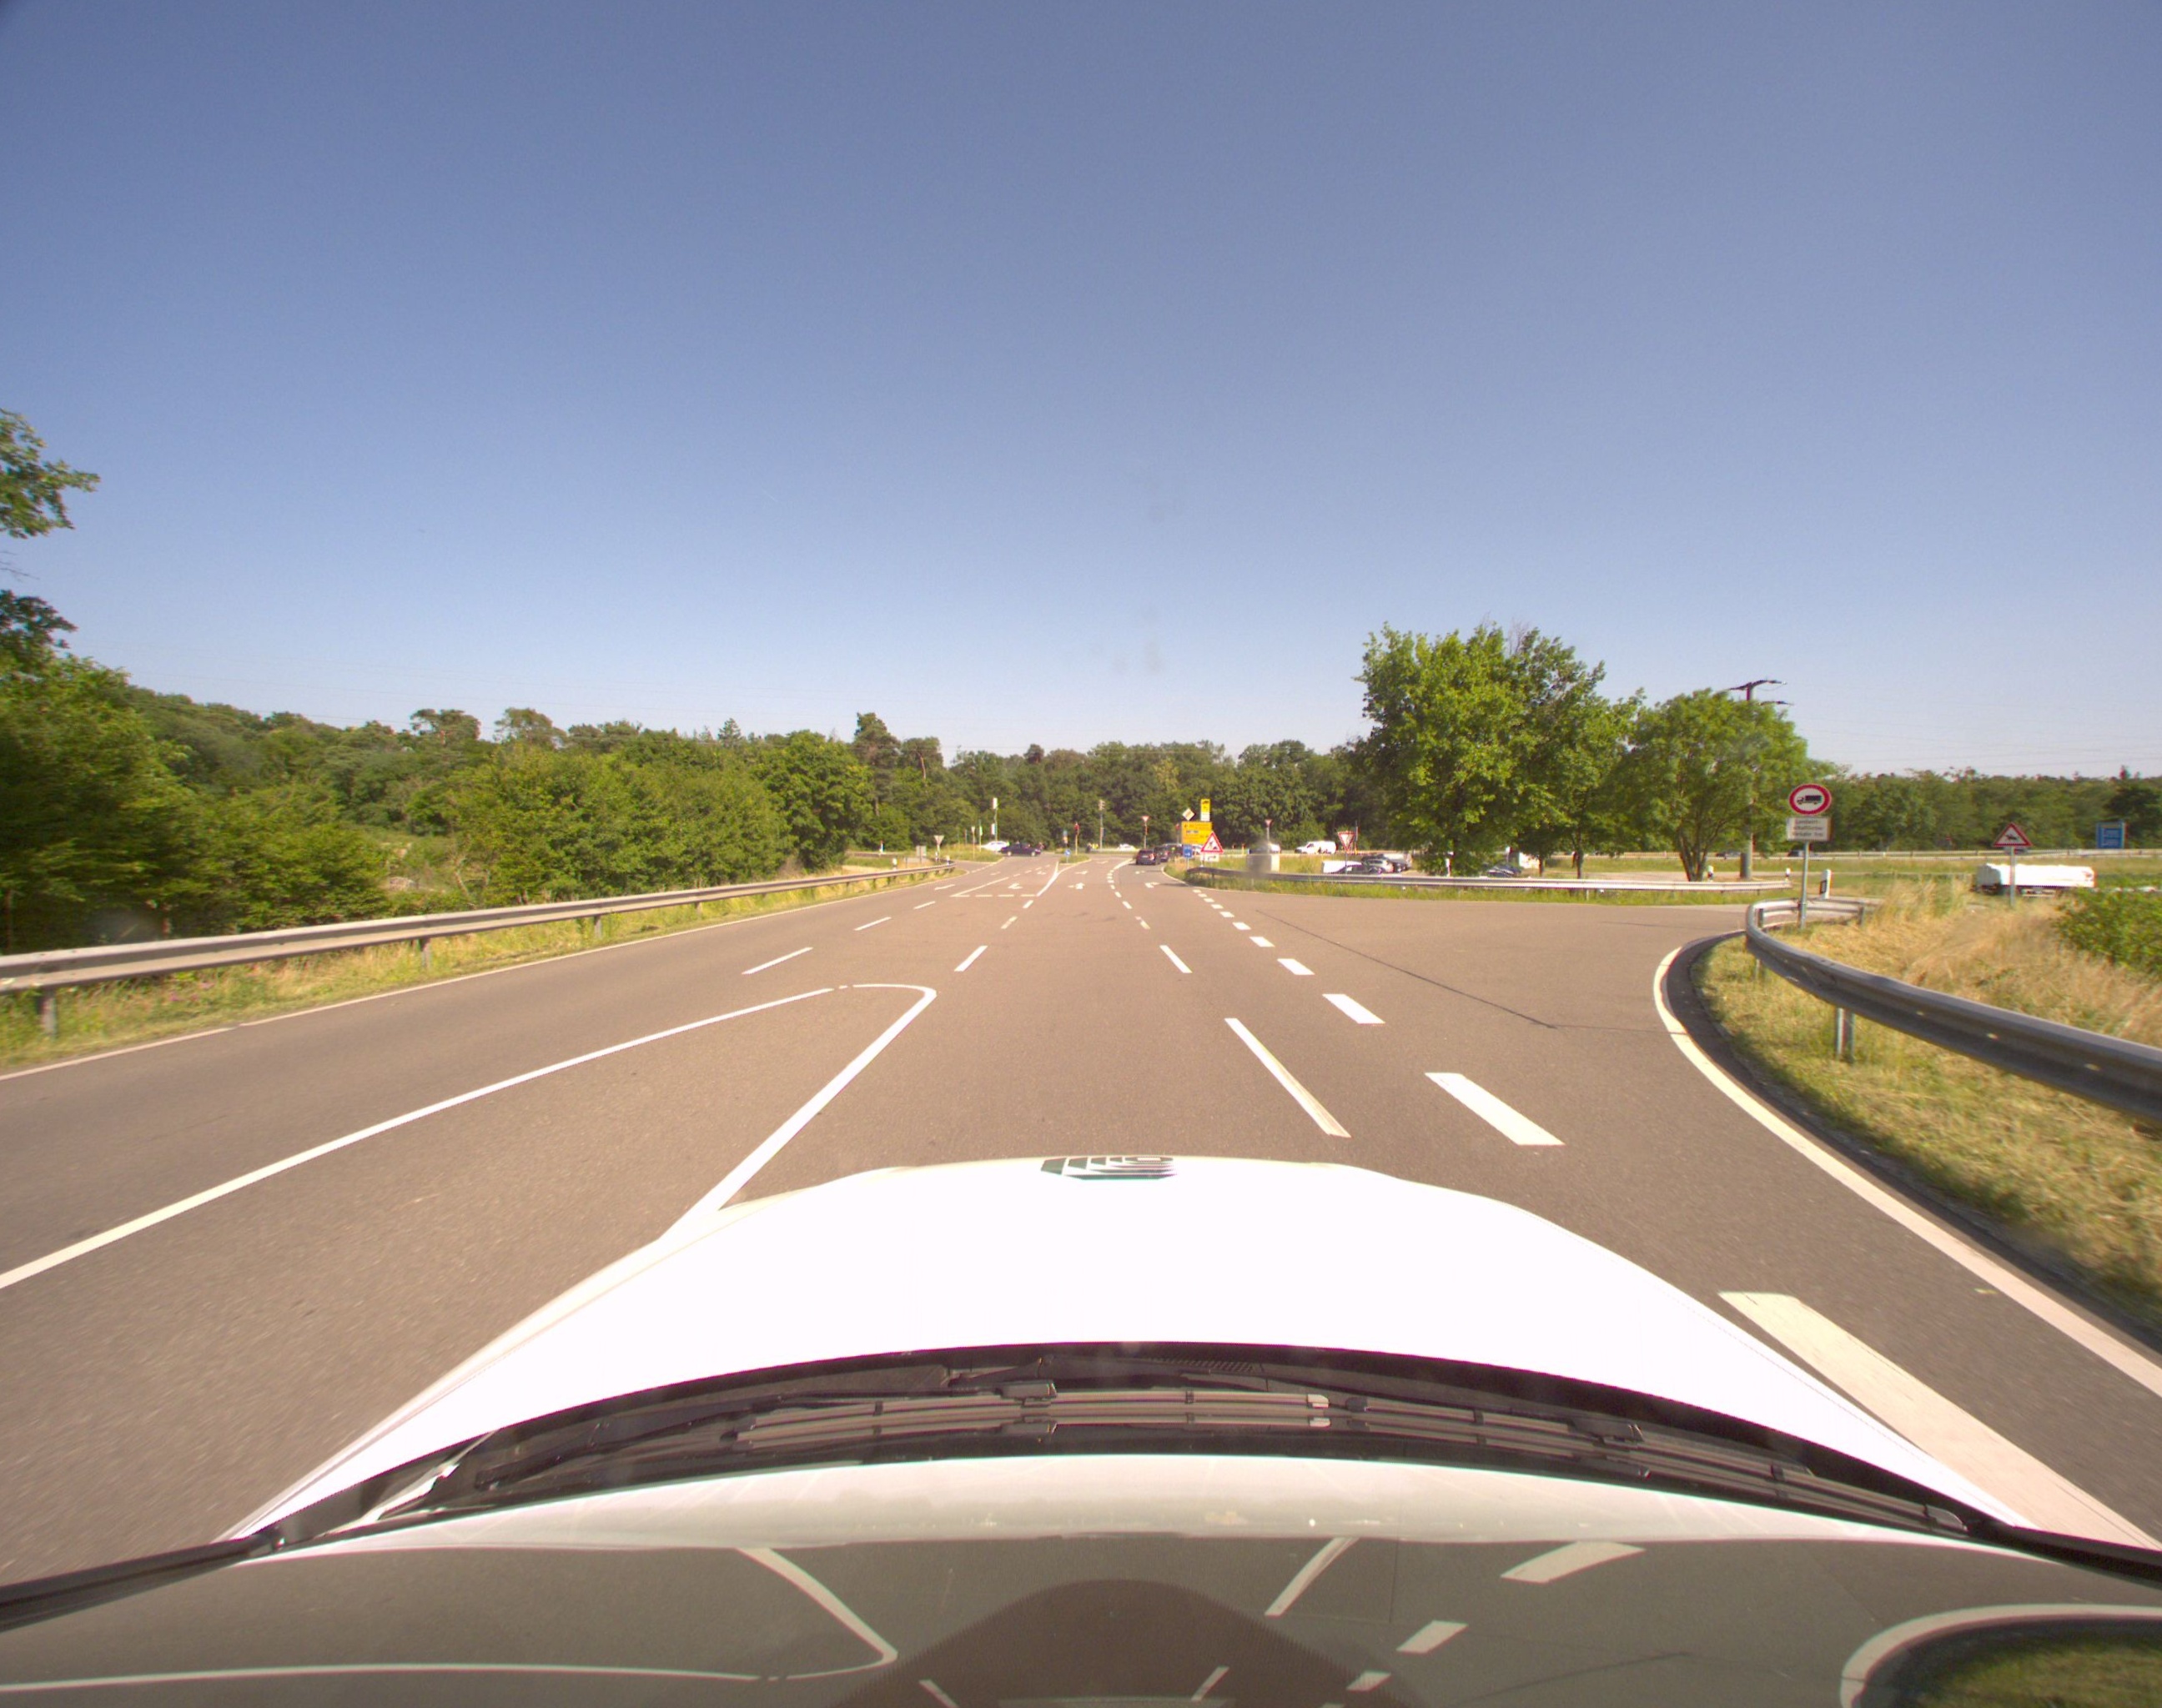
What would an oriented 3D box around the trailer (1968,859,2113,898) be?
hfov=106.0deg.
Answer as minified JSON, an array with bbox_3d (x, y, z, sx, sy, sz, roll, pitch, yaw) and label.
[{"bbox_3d":[73.835,1.858,62.818,6.732,2.670,2.906,1,1,16],"label":"trailer"}]

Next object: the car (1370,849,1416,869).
[{"bbox_3d":[31.867,0.503,83.302,3.950,1.876,1.903,3,1,40],"label":"car"}]

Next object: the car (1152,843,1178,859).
[{"bbox_3d":[8.268,-0.268,79.804,1.785,1.501,4.019,0,1,18],"label":"car"}]

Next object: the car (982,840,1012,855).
[{"bbox_3d":[-12.218,-0.973,118.159,4.002,2.013,1.783,-2,0,-21],"label":"car"}]

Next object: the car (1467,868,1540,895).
[{"bbox_3d":[29.480,1.867,56.973,4.318,1.589,2.010,2,1,20],"label":"car"}]

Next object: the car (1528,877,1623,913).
[{"bbox_3d":[26.664,2.199,44.033,3.964,1.665,1.896,2,1,8],"label":"car"}]

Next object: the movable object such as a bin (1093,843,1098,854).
[{"bbox_3d":[1.974,-0.807,111.112,0.598,1.488,0.734,-2,0,8],"label":"movable object such as a bin"}]

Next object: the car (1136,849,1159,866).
[{"bbox_3d":[5.948,0.330,72.439,1.790,1.398,4.008,-2,0,7],"label":"car"}]

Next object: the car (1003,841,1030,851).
[{"bbox_3d":[-9.933,-1.203,125.026,3.982,1.422,1.792,-2,0,-6],"label":"car"}]

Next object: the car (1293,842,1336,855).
[{"bbox_3d":[29.940,-0.689,104.549,4.875,1.552,1.996,-2,0,-6],"label":"car"}]

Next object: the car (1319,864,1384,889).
[{"bbox_3d":[19.652,1.626,59.329,4.382,1.667,1.909,-1,1,13],"label":"car"}]

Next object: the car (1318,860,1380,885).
[{"bbox_3d":[20.463,1.393,62.243,4.324,1.783,1.908,1,1,13],"label":"car"}]

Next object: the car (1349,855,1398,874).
[{"bbox_3d":[28.104,0.993,78.273,3.949,1.619,1.903,3,1,35],"label":"car"}]

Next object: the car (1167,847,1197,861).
[{"bbox_3d":[10.617,-0.024,85.387,1.782,1.501,4.025,1,1,30],"label":"car"}]

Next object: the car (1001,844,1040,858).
[{"bbox_3d":[-6.916,-0.311,93.309,4.359,1.459,1.996,-2,0,-6],"label":"car"}]

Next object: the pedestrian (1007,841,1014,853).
[{"bbox_3d":[-10.164,-0.940,116.614,0.762,1.721,0.672,-1,0,-31],"label":"pedestrian"}]

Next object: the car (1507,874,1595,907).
[{"bbox_3d":[27.079,2.092,47.013,3.964,1.580,1.896,2,1,9],"label":"car"}]

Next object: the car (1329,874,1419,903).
[{"bbox_3d":[17.310,2.017,48.260,4.633,1.626,2.002,0,0,3],"label":"car"}]

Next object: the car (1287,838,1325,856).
[{"bbox_3d":[26.852,-0.826,97.105,3.980,2.013,1.798,-1,1,-5],"label":"car"}]

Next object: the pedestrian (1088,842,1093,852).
[{"bbox_3d":[1.250,-0.925,110.604,0.519,1.390,0.515,-2,0,11],"label":"pedestrian"}]
